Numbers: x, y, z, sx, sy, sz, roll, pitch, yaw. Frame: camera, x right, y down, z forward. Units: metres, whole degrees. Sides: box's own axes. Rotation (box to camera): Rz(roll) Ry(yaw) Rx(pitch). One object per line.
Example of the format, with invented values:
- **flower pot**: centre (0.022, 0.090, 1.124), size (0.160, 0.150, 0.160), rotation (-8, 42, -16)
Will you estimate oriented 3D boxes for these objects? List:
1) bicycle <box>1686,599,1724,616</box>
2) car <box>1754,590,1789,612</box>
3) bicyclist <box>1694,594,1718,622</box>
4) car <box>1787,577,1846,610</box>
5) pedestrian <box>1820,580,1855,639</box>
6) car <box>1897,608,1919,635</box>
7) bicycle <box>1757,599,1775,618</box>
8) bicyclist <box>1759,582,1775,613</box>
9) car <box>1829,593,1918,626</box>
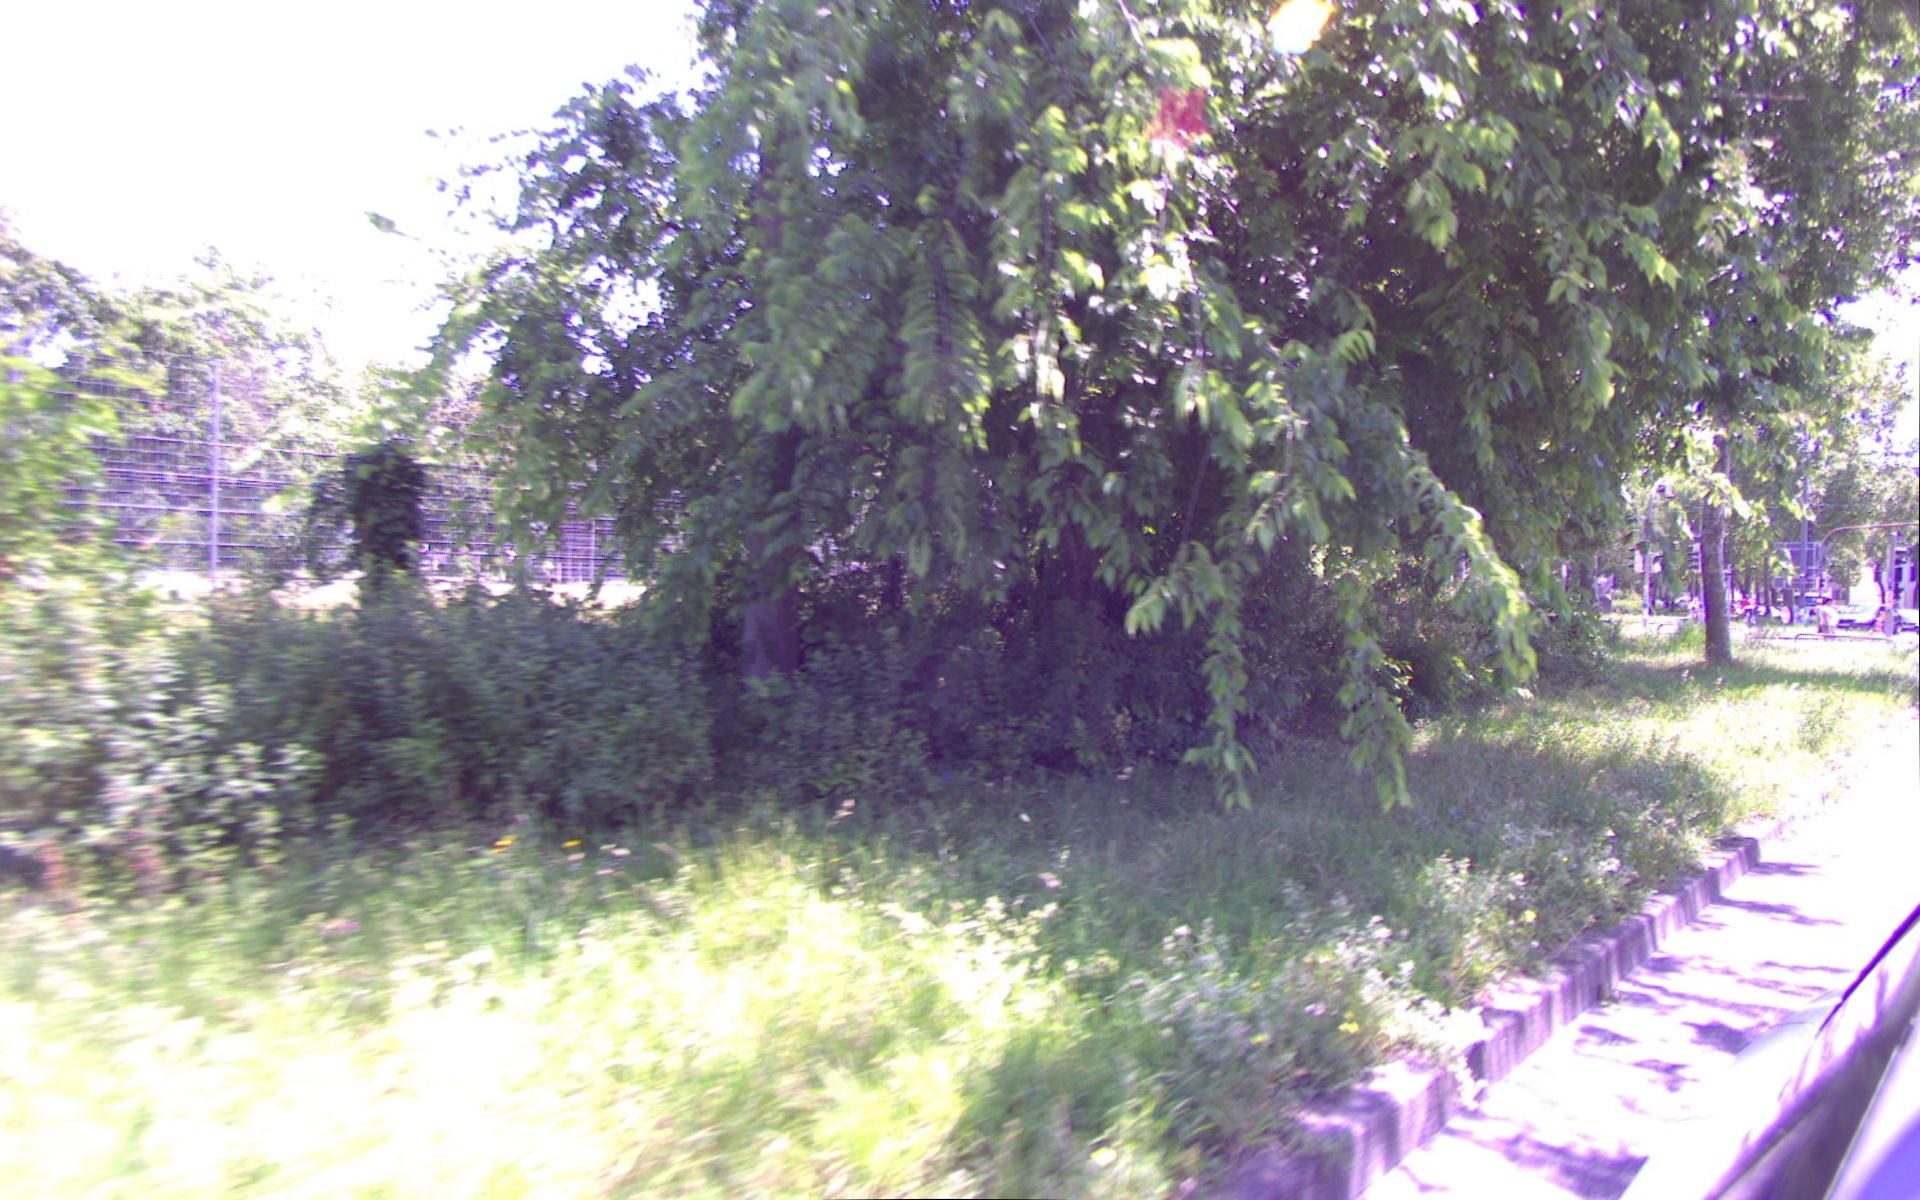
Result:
- **bicycle**: centre (36.311, 0.354, 49.321), size (1.633, 0.773, 0.466), rotation (2, 1, -10)
- **car**: centre (81.308, 0.078, 101.481), size (1.982, 2.039, 3.961), rotation (1, 1, 28)
- **bicyclist**: centre (36.351, 0.374, 49.321), size (0.652, 1.355, 0.602), rotation (1, 1, -12)
- **car**: centre (72.596, -0.587, 85.872), size (2.898, 2.687, 6.293), rotation (2, 1, 32)
- **pedestrian**: centre (22.887, 0.241, 26.396), size (0.618, 1.502, 0.554), rotation (1, 1, -39)
- **car**: centre (50.285, 1.128, 52.429), size (3.672, 1.349, 1.793), rotation (0, 1, -35)
- **bicycle**: centre (40.829, 0.417, 51.237), size (0.587, 0.907, 1.784), rotation (2, 1, 42)
- **bicyclist**: centre (40.820, -0.122, 51.208), size (0.577, 1.576, 0.663), rotation (1, 1, 43)
- **car**: centre (43.696, 0.451, 48.404), size (3.784, 1.480, 1.658), rotation (1, 1, -22)
